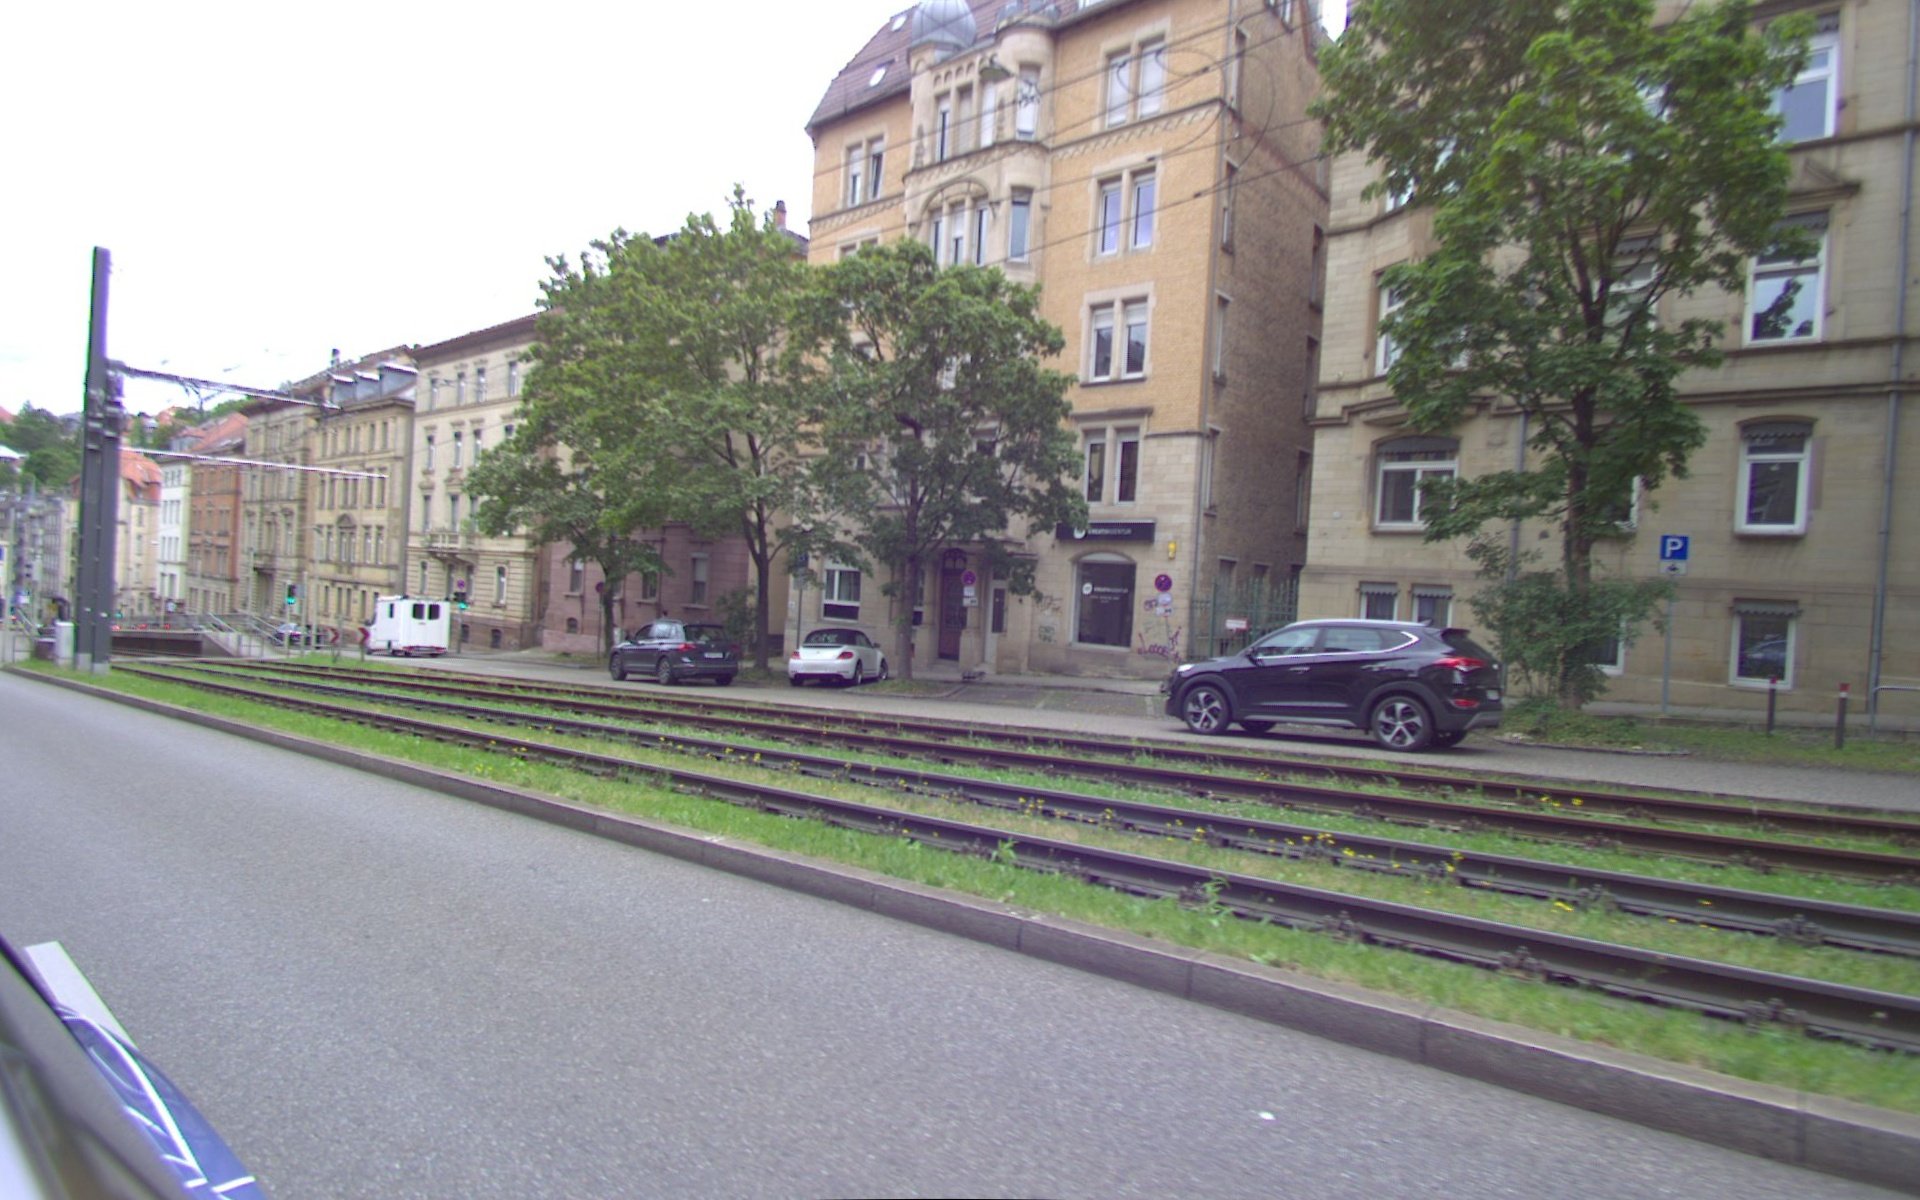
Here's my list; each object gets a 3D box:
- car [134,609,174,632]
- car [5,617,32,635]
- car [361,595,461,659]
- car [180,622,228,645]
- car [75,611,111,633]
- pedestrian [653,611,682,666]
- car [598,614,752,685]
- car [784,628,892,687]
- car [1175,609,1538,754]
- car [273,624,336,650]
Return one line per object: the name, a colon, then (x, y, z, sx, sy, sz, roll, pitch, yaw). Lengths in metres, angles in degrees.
car: (-66.164, 1.717, 83.044, 4.137, 1.874, 1.829, -2, -3, 42)
car: (-122.194, 3.357, 131.283, 5.453, 2.322, 1.972, -2, -3, 42)
car: (-25.576, 1.294, 46.998, 2.364, 2.720, 6.524, 5, -4, -43)
car: (-46.510, 2.085, 62.246, 3.652, 1.388, 1.561, -1, -3, 40)
car: (-73.418, 1.869, 85.711, 4.575, 1.749, 1.691, -2, -3, 42)
pedestrian: (-10.911, 1.425, 37.757, 0.796, 2.029, 0.712, -2, -3, 40)
car: (-7.418, 1.263, 26.073, 1.858, 1.663, 4.473, 5, -5, -44)
car: (-3.131, 1.464, 26.822, 1.766, 1.433, 3.987, 0, -2, 10)
car: (5.243, 1.012, 13.725, 4.241, 1.669, 1.761, -1, -4, 42)
car: (-37.543, 2.105, 57.906, 4.745, 1.439, 1.730, -1, -4, 41)
